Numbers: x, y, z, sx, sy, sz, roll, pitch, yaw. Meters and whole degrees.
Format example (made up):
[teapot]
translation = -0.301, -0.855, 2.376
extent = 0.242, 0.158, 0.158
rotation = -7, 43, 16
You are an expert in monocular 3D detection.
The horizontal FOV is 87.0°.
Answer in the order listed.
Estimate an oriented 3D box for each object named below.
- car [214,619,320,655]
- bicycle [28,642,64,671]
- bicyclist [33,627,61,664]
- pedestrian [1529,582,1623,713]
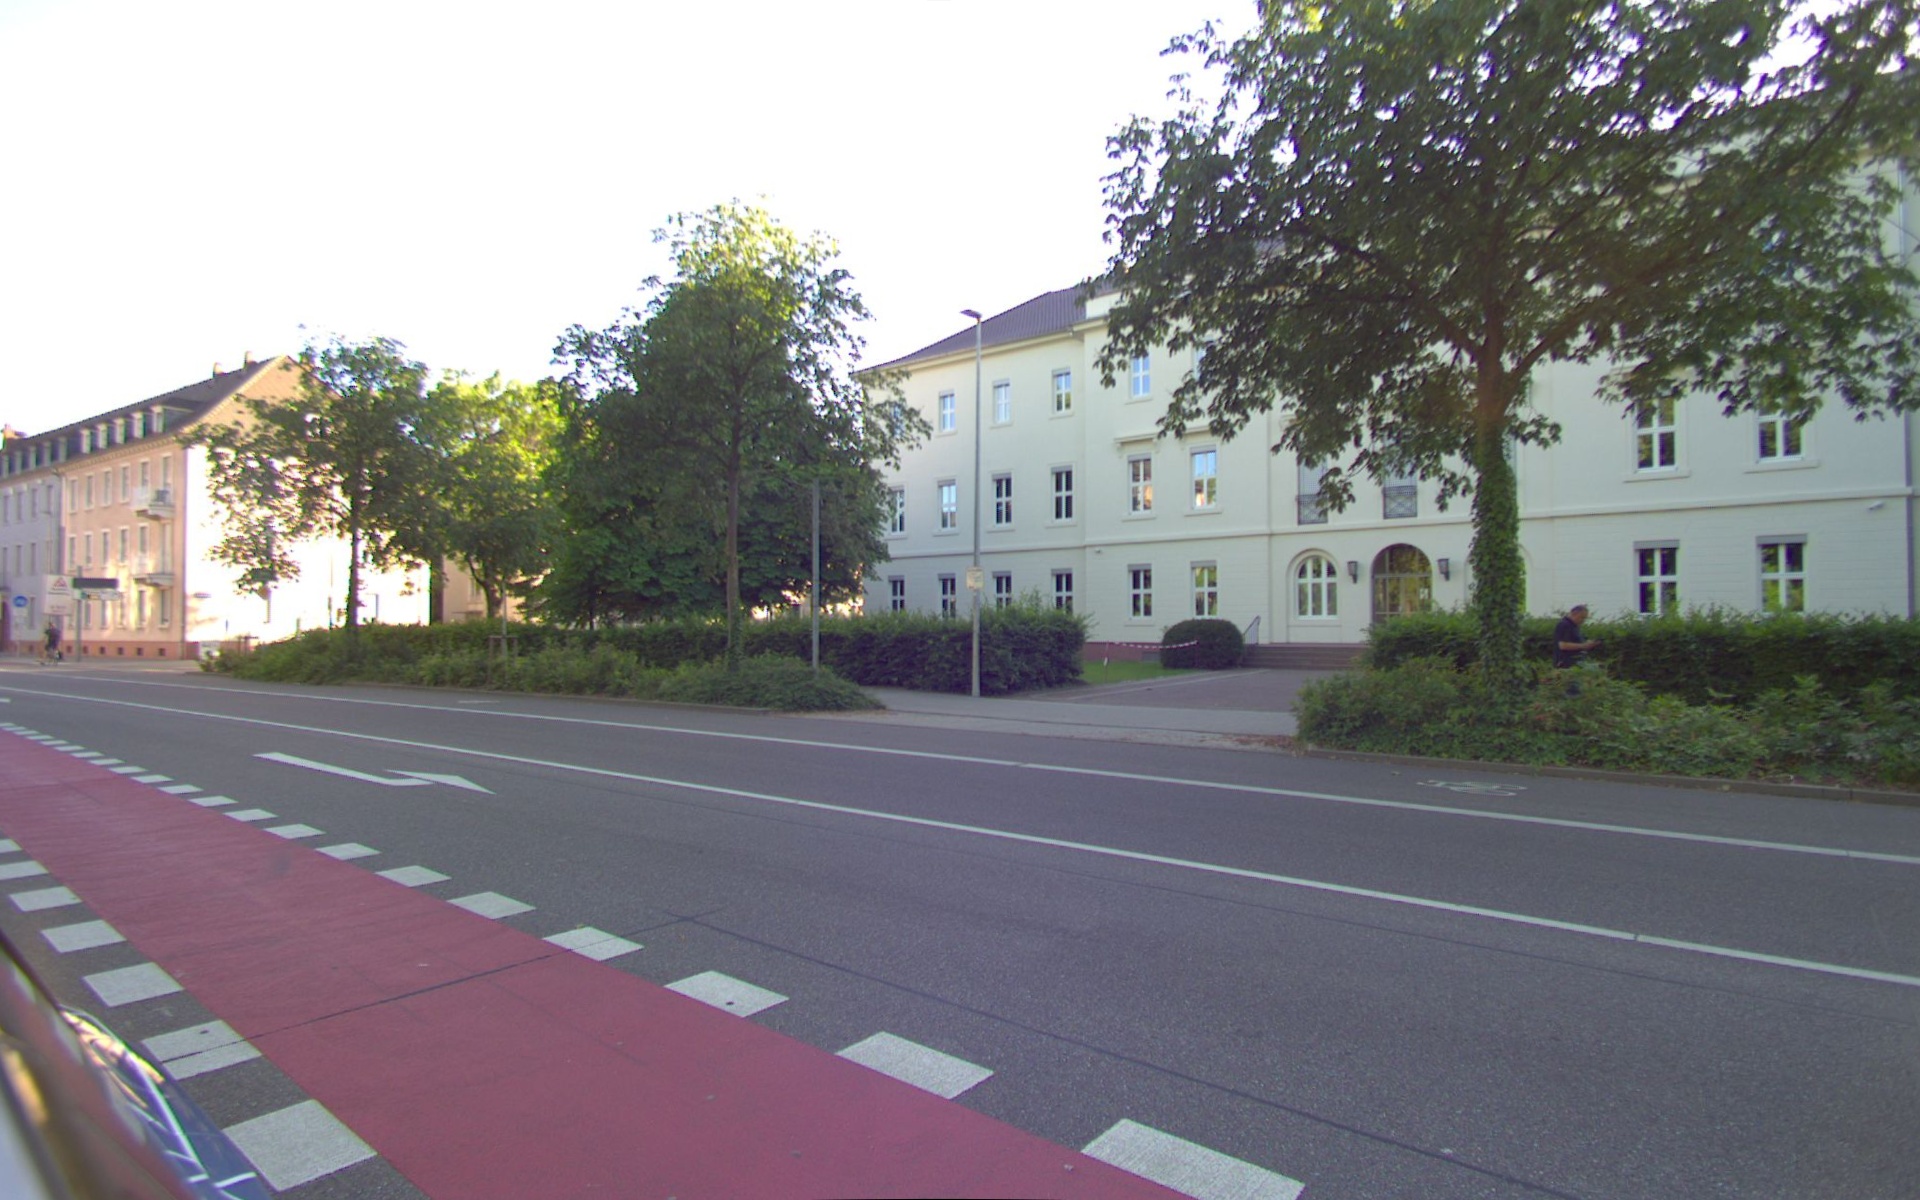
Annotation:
[car]
translation = -34.639, 1.809, 50.669
extent = 1.993, 1.674, 3.958
rotation = -1, -1, 31
[bicycle]
translation = -39.006, 2.403, 43.188
extent = 2.242, 1.168, 0.688
rotation = -2, -4, 38
[bicyclist]
translation = -38.980, 1.942, 43.191
extent = 0.837, 1.574, 0.683
rotation = -2, -4, 37
[pedestrian]
translation = 8.532, 0.650, 14.029
extent = 0.967, 1.733, 0.826
rotation = -2, -3, 41
